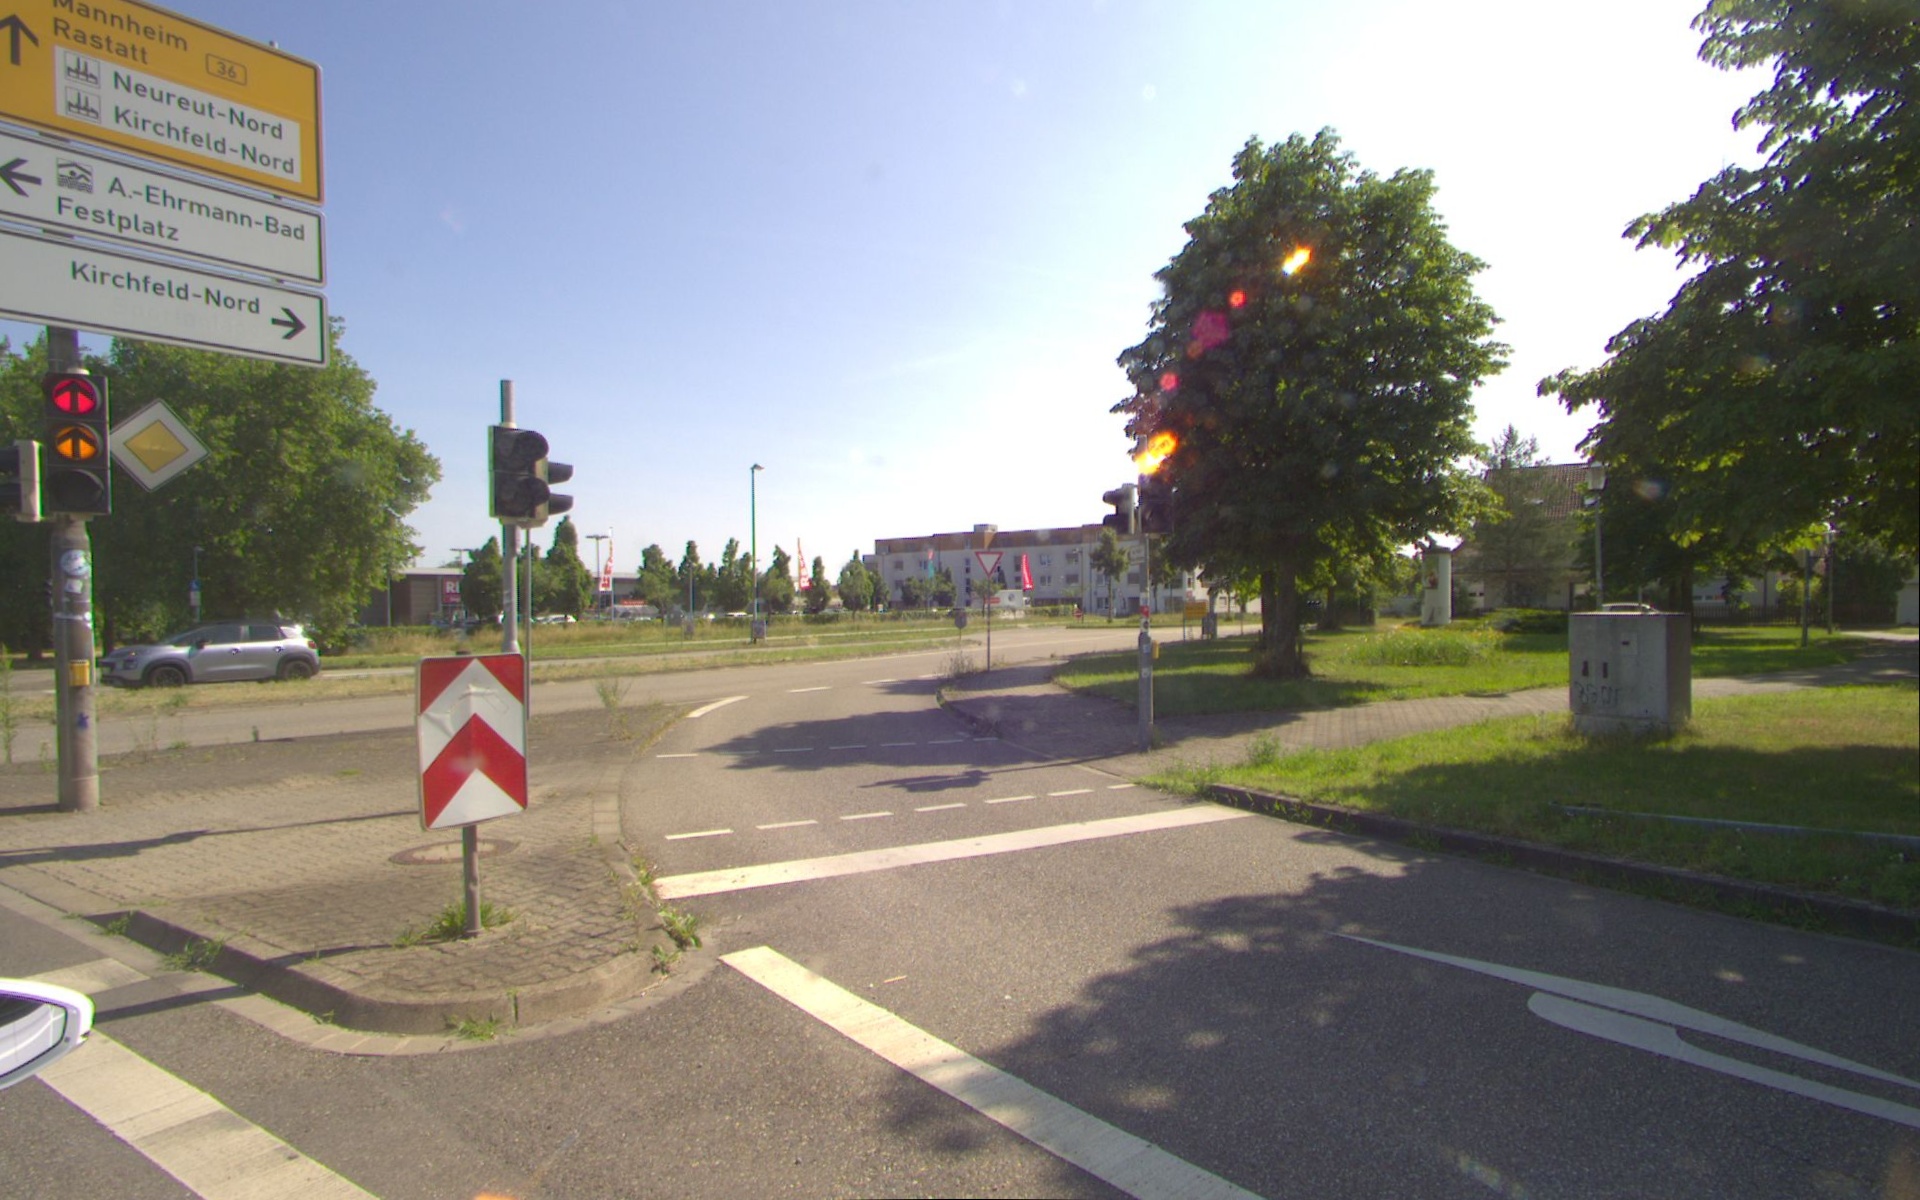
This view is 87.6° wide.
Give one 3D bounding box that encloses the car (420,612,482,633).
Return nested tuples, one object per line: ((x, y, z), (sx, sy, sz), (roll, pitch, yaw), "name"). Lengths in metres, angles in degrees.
((-45.237, 2.024, 89.076), (1.963, 1.773, 4.474), (-1, 0, 39), "car")

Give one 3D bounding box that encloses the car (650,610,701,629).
((-27.995, 1.868, 98.561), (4.448, 1.773, 1.975), (0, 0, -34), "car")

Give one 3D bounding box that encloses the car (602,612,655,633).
((-29.076, 1.969, 87.771), (1.978, 1.750, 3.967), (-1, 0, 41), "car")

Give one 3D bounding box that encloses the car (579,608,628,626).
((-38.027, 1.811, 106.846), (1.968, 1.773, 4.465), (-1, 0, 45), "car")

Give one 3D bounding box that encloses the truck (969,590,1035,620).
((5.246, 0.566, 123.541), (8.141, 3.592, 2.617), (0, 0, -33), "truck")

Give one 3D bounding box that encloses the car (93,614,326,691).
((-17.423, 1.158, 23.436), (1.718, 1.584, 4.042), (-1, 0, 33), "car")

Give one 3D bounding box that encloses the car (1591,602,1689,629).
((33.843, 0.791, 49.911), (3.946, 1.305, 1.722), (-1, 0, 35), "car")

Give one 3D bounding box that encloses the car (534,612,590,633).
((-36.419, 2.051, 91.710), (1.963, 1.773, 4.474), (-1, 0, 39), "car")
